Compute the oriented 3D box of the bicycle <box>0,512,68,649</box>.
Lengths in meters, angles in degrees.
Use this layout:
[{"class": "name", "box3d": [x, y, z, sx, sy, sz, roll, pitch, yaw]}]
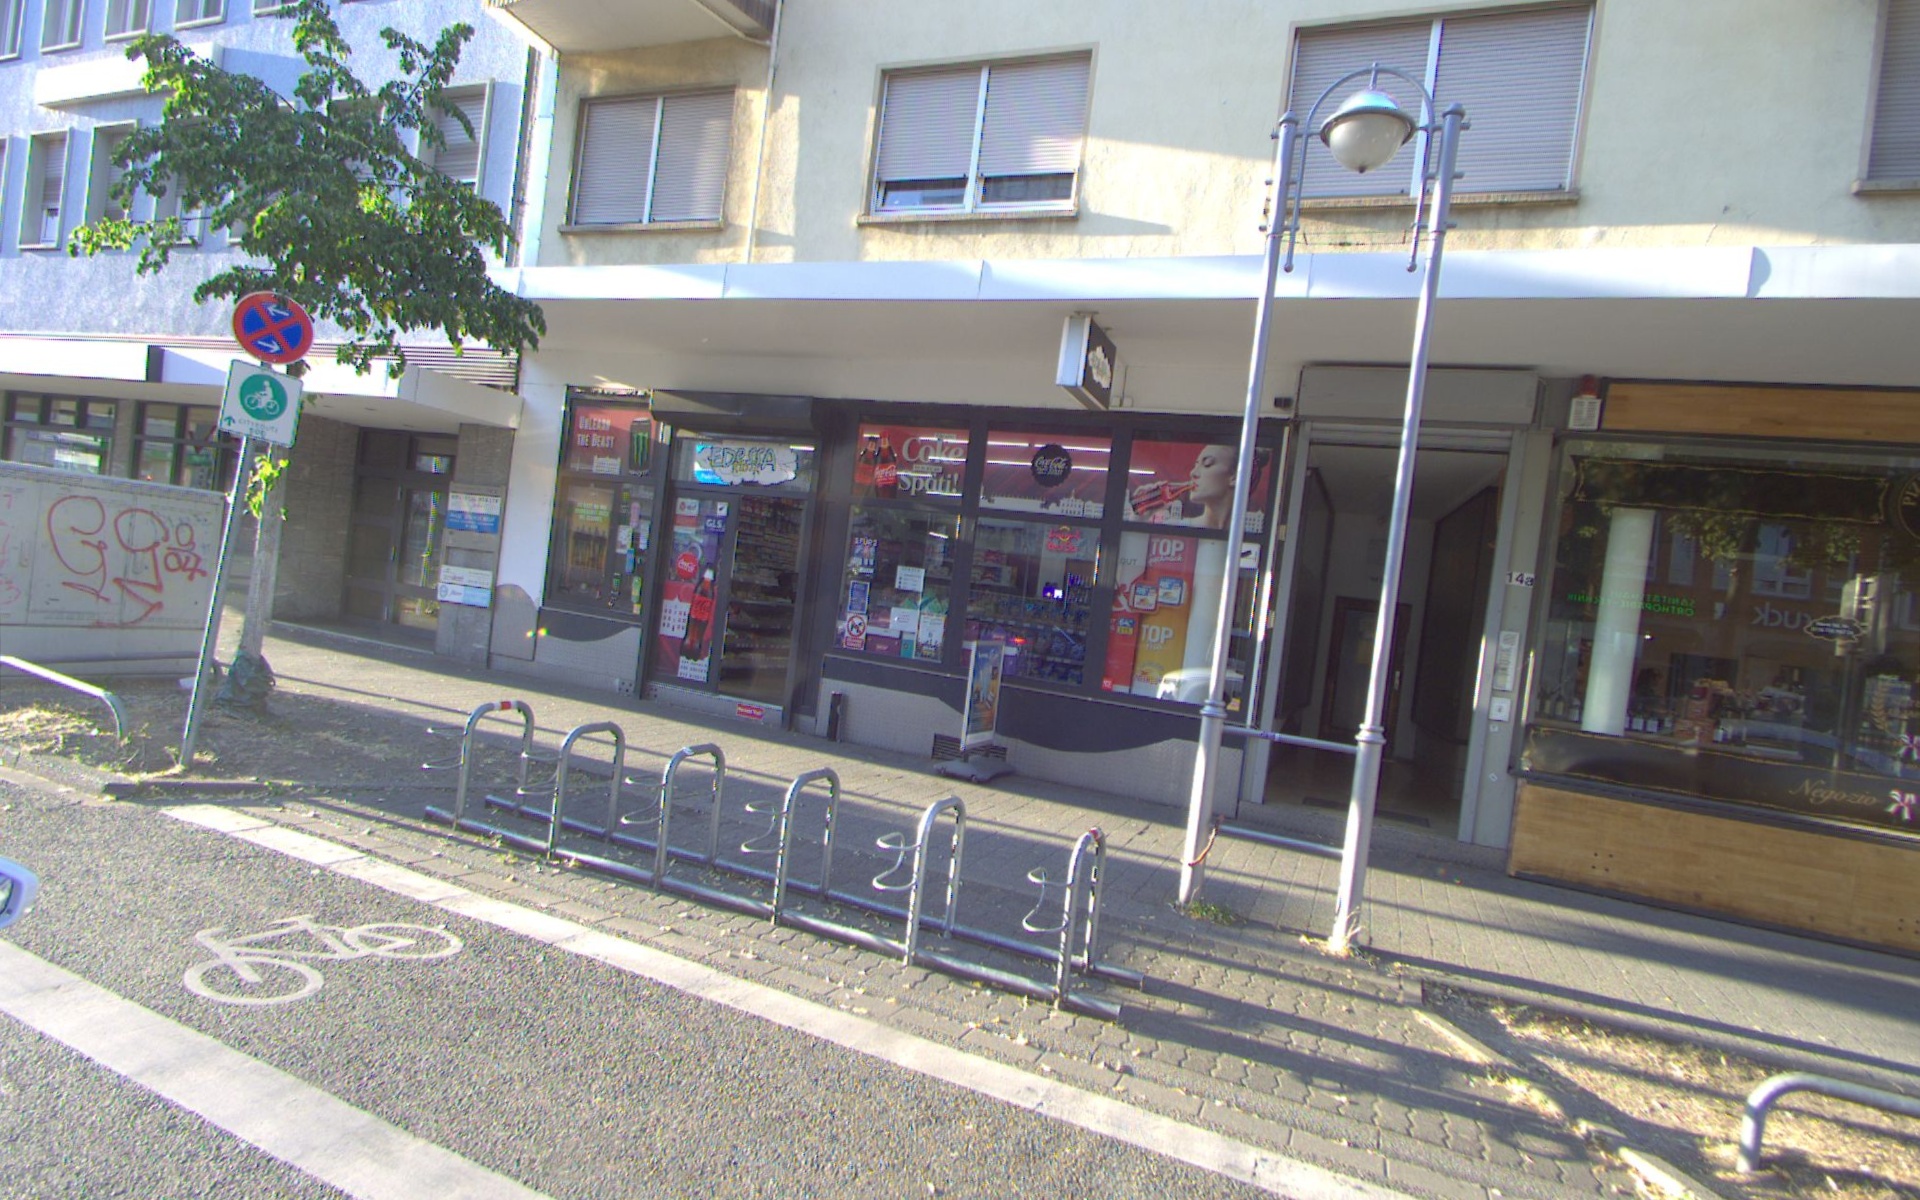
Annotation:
[{"class": "bicycle", "box3d": [-9.103, -0.228, 9.067, 0.376, 1.234, 1.445, 7, -1, 25]}]
